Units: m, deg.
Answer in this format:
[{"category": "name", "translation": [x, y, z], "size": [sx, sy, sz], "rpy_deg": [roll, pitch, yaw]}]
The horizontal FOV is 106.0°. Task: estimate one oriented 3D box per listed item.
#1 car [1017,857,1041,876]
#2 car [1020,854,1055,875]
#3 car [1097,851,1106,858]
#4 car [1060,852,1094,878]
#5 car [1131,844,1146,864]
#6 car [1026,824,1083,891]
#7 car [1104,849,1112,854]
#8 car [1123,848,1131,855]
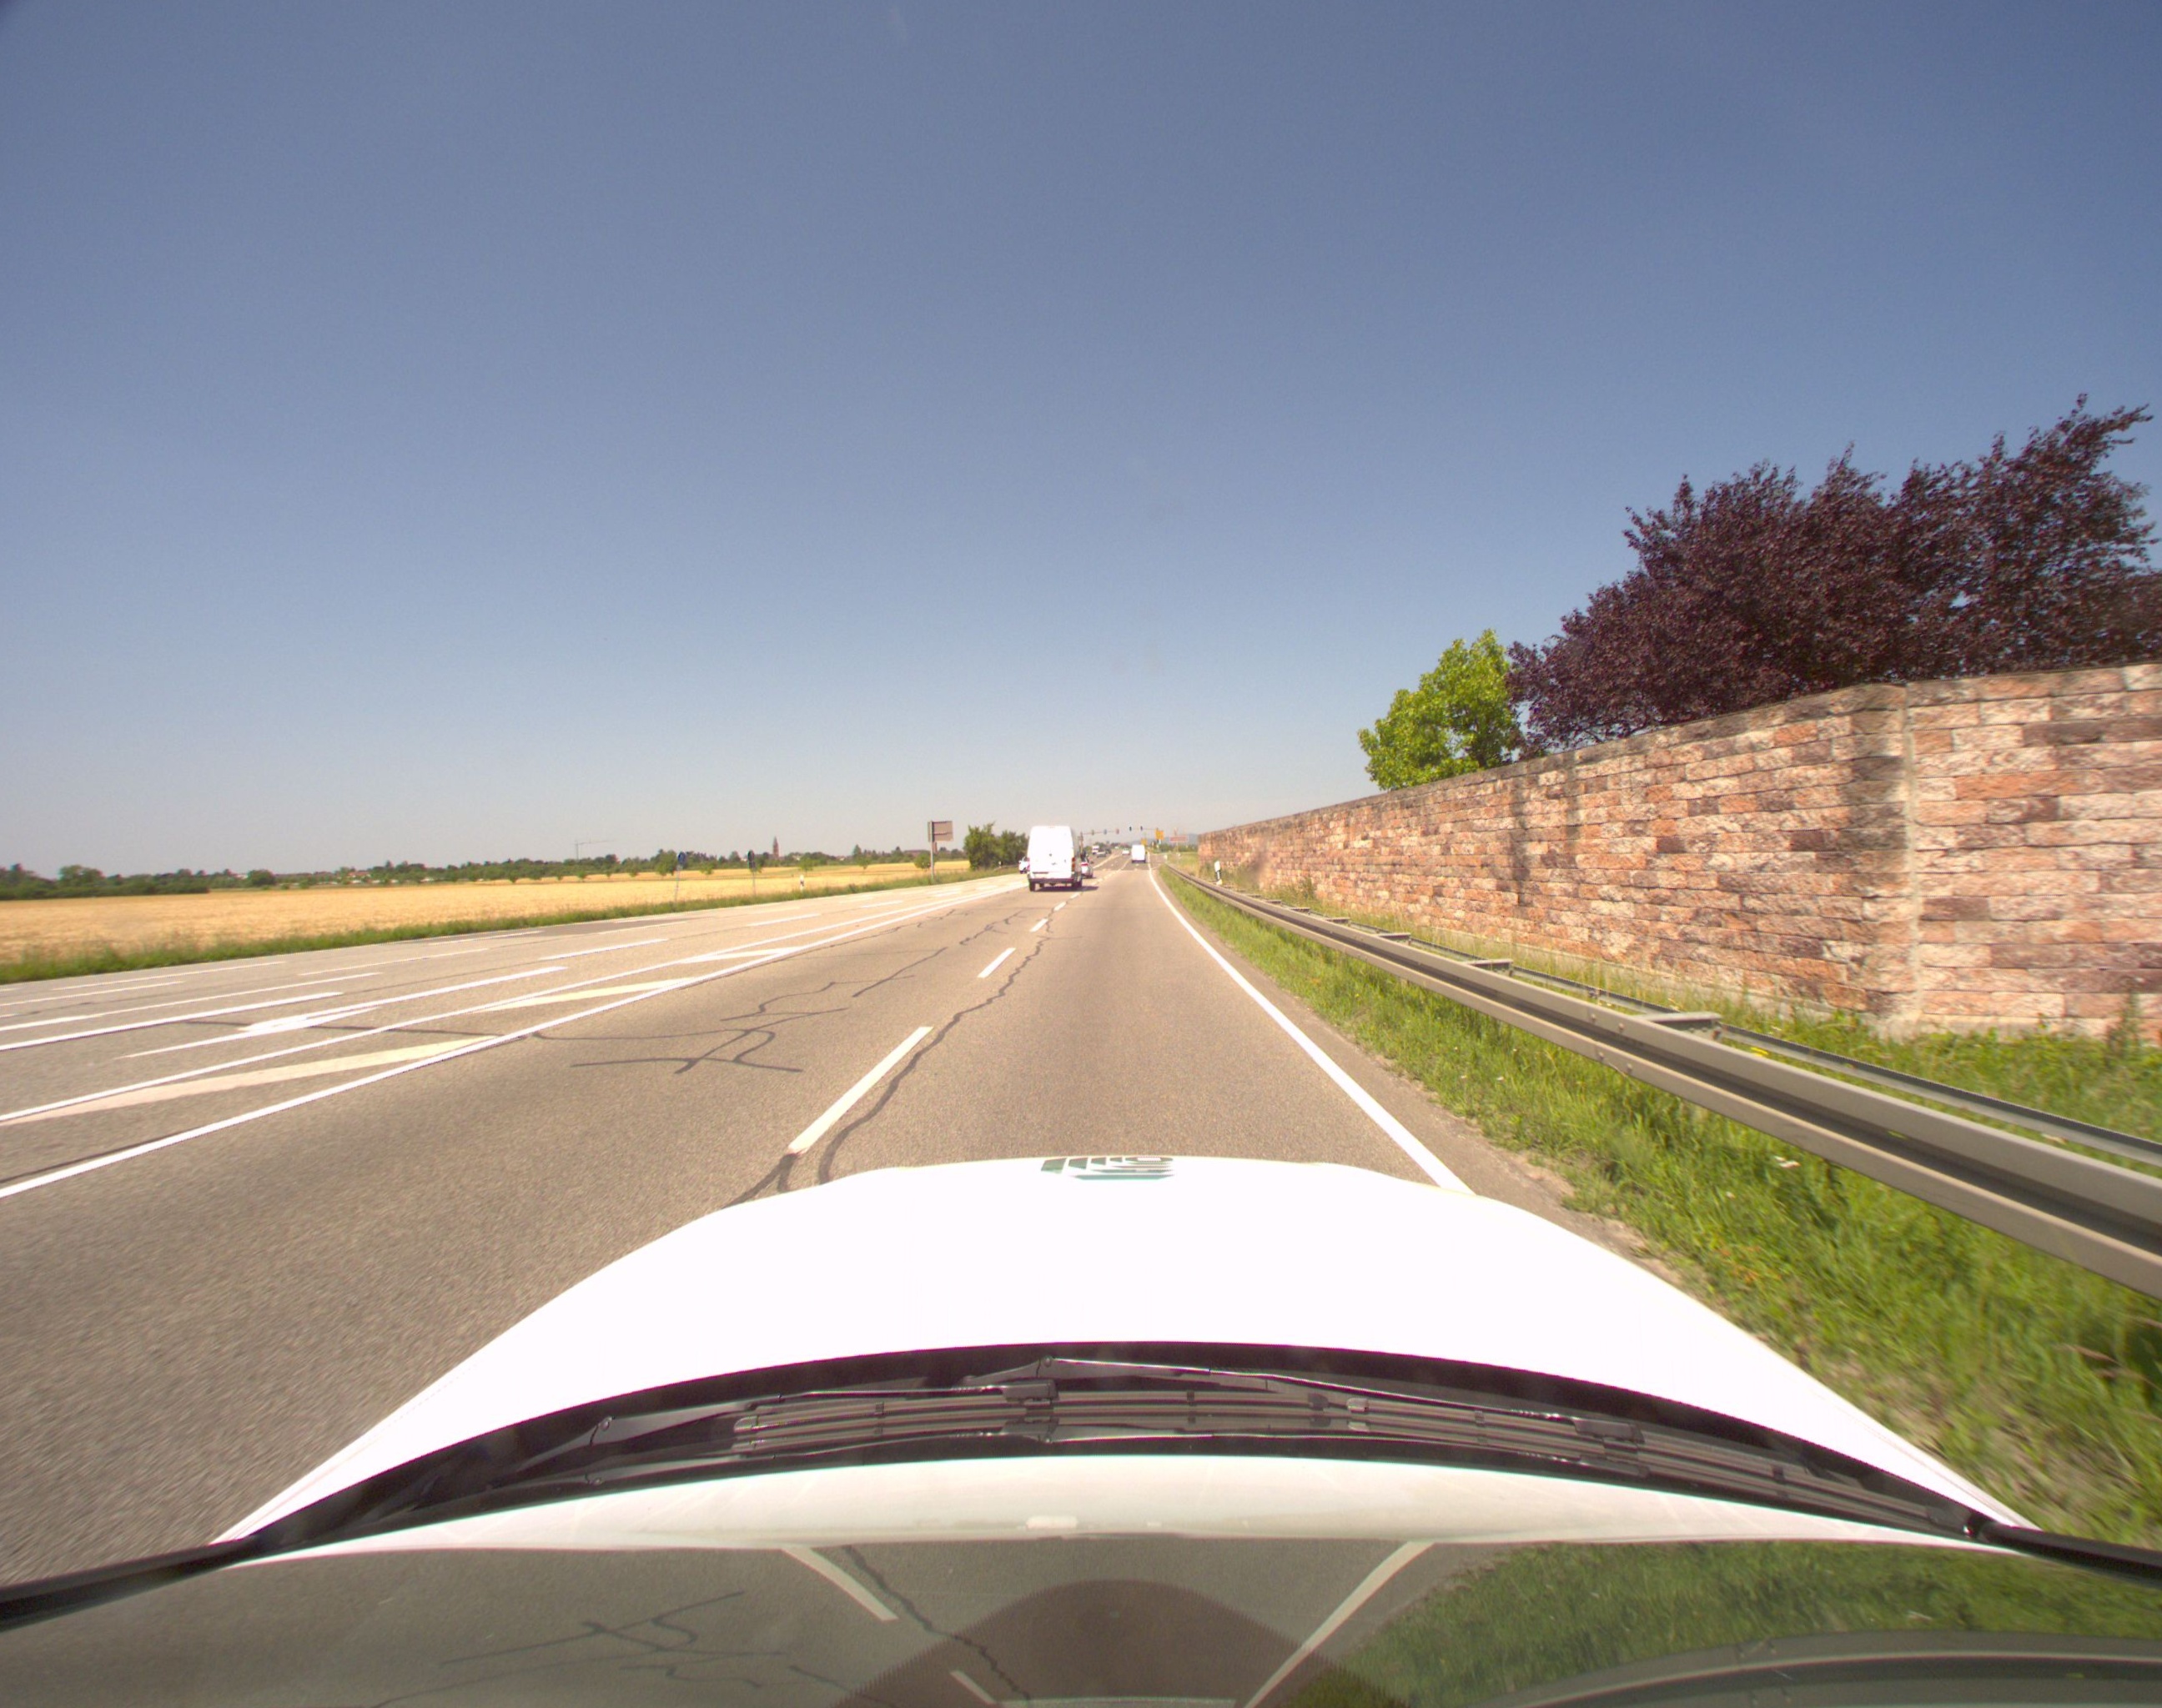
[{"category": "car", "translation": [-5.030, 1.206, 79.204], "size": [1.657, 1.676, 4.469], "rpy_deg": [-3, 0, 5]}, {"category": "car", "translation": [-3.224, 0.776, 61.076], "size": [1.749, 1.457, 4.241], "rpy_deg": [-2, 0, 8]}, {"category": "car", "translation": [4.674, 0.095, 185.085], "size": [1.848, 1.423, 4.006], "rpy_deg": [-3, 0, 5]}, {"category": "car", "translation": [-0.219, 0.684, 51.656], "size": [1.791, 1.508, 4.201], "rpy_deg": [-3, 0, 4]}, {"category": "car", "translation": [8.158, -0.043, 115.908], "size": [1.984, 2.695, 4.975], "rpy_deg": [-3, 0, 4]}, {"category": "car", "translation": [-1.055, 0.146, 35.159], "size": [2.031, 2.620, 5.744], "rpy_deg": [1, 0, 2]}, {"category": "car", "translation": [7.849, -0.650, 237.042], "size": [1.848, 1.423, 4.006], "rpy_deg": [-1, -1, 6]}, {"category": "car", "translation": [11.550, -0.717, 204.098], "size": [1.984, 1.703, 4.280], "rpy_deg": [0, -1, 5]}]
